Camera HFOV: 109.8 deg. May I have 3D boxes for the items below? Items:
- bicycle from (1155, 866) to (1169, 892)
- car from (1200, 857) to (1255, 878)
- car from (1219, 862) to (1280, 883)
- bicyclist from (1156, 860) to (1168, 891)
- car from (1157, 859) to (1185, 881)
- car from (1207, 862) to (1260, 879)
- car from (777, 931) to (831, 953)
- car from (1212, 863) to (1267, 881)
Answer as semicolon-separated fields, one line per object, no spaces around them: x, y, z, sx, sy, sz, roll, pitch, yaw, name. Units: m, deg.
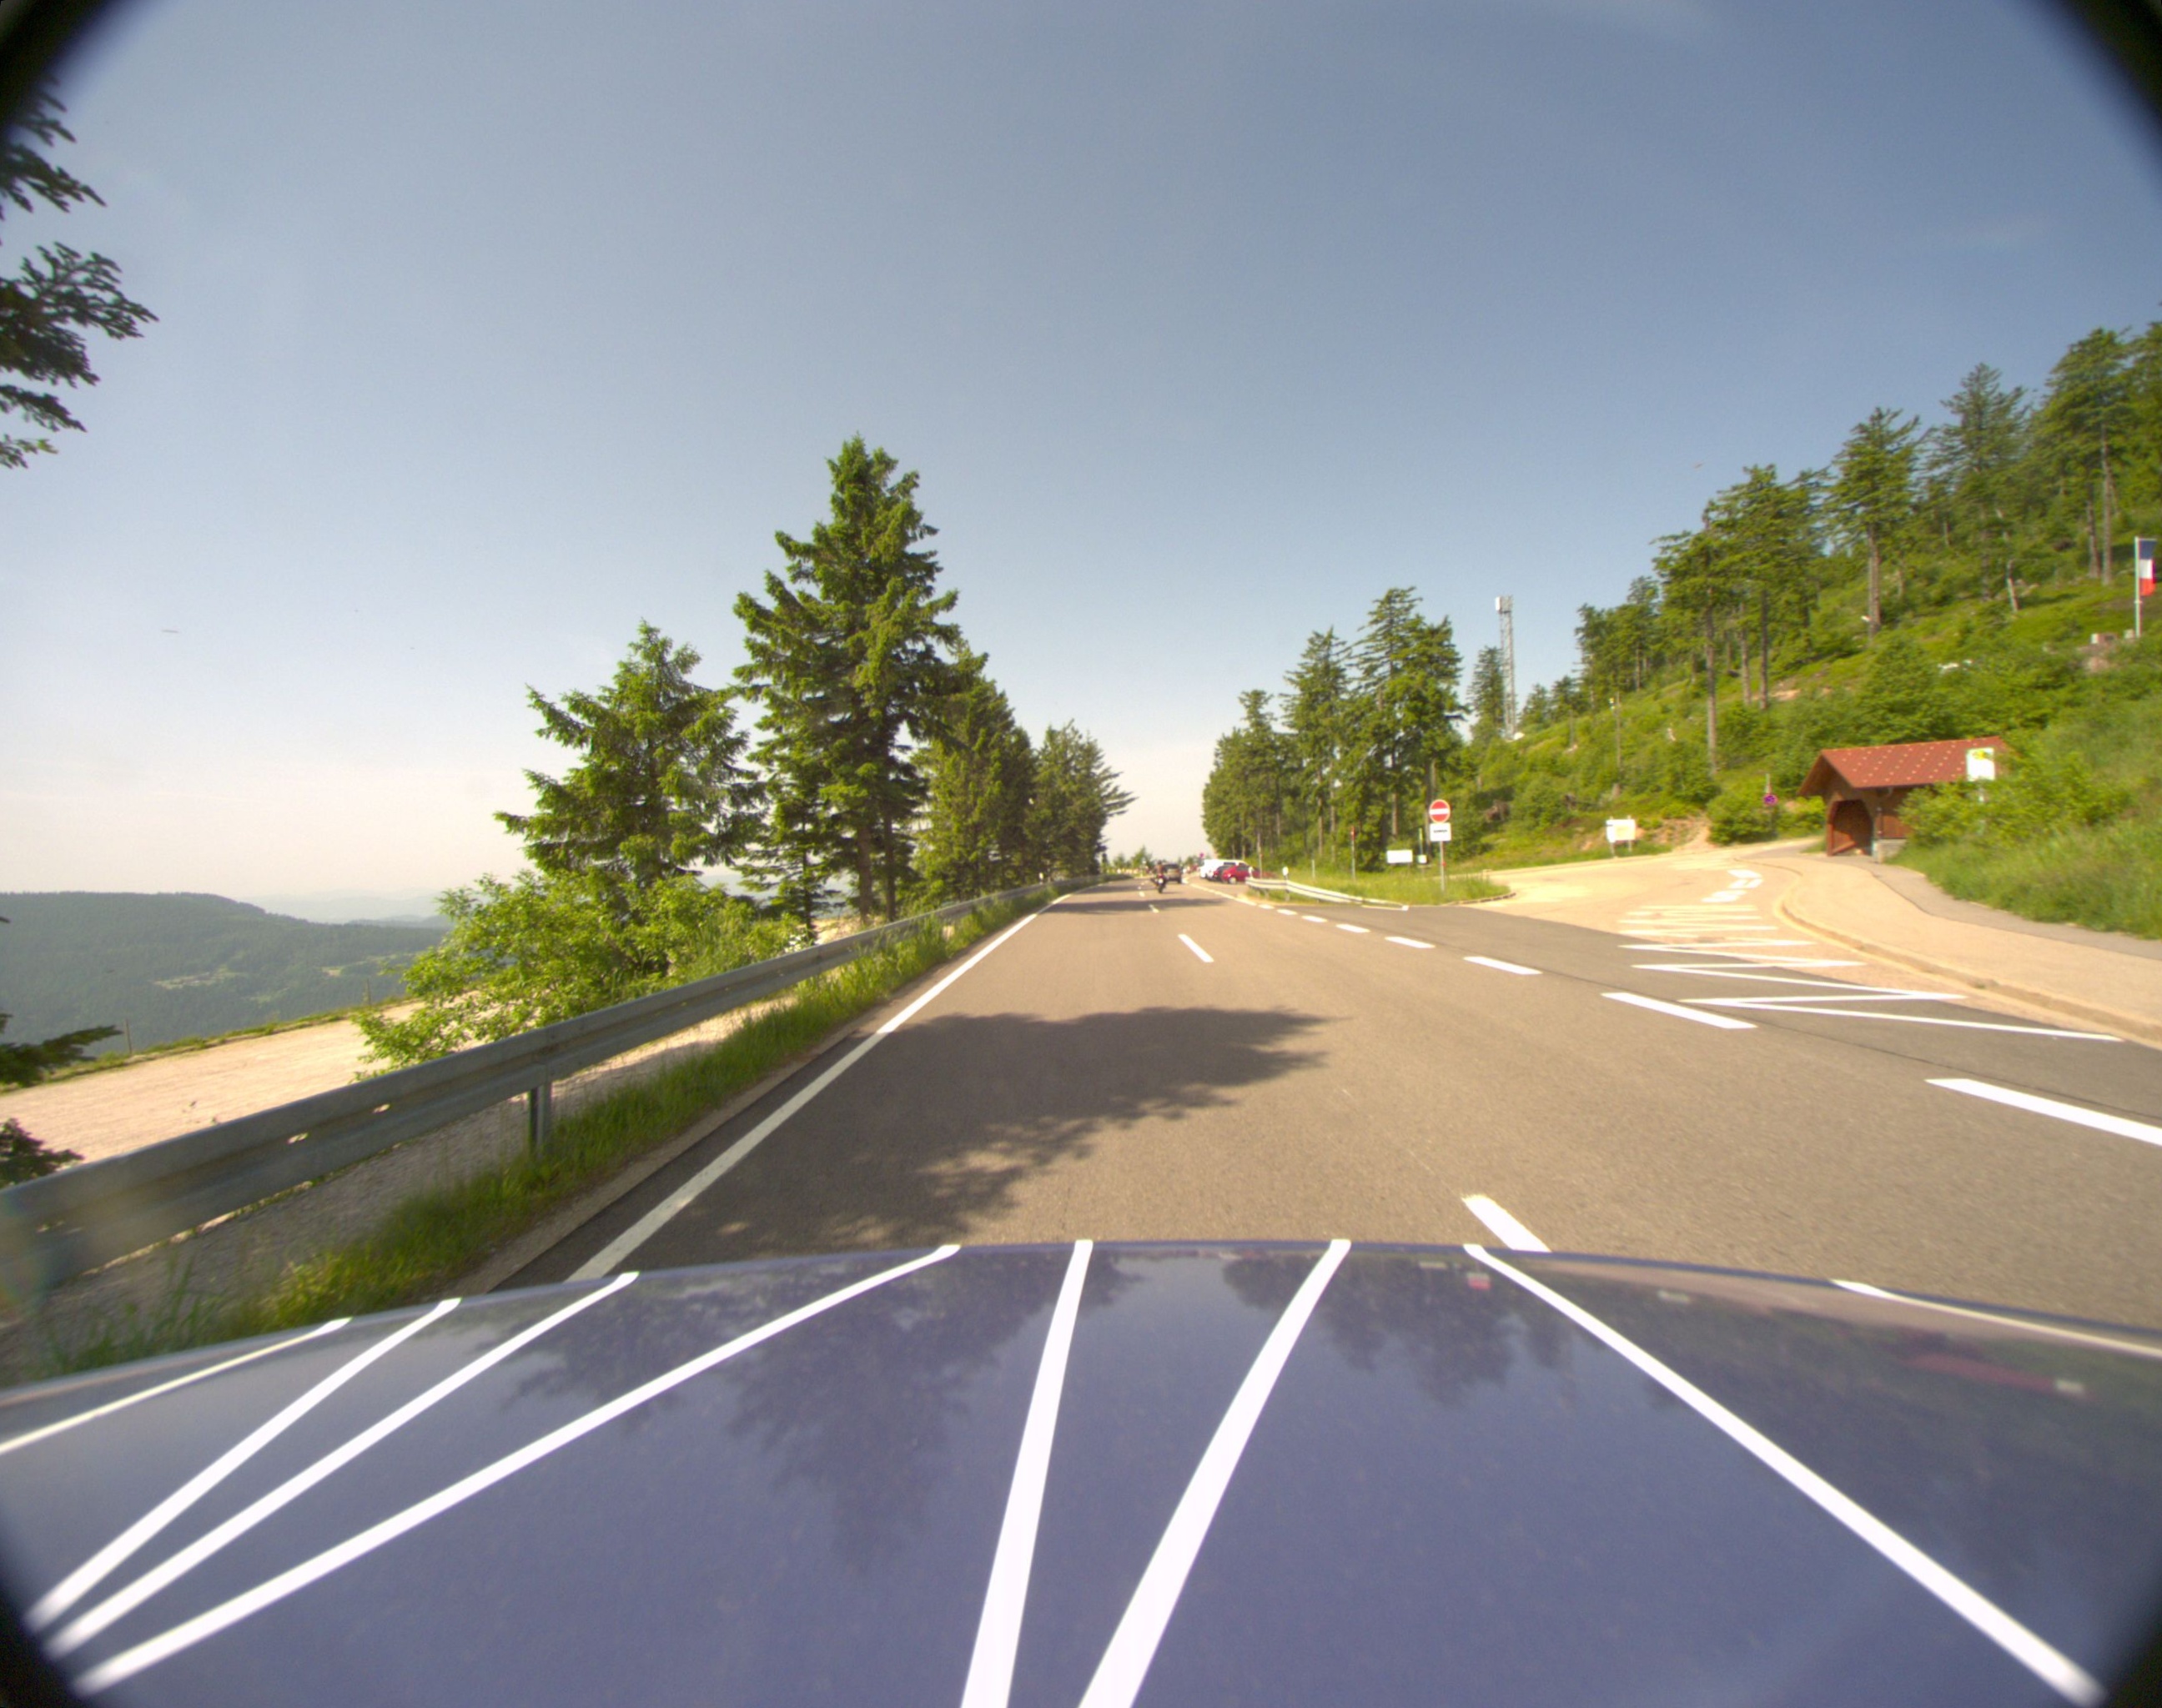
4.032;1.247;37.931;0.546;1.220;1.859;-1;0;3;bicycle
13.510;1.229;70.347;4.729;1.871;1.932;0;0;0;car
12.456;1.336;56.423;4.158;1.501;1.933;0;0;5;car
4.059;1.081;38.168;0.546;1.519;0.679;-1;1;1;bicyclist
6.911;1.225;58.653;1.998;1.586;4.002;-1;0;5;car
13.353;1.428;66.621;4.242;1.516;1.932;0;0;0;car
-23.431;7.419;64.301;3.771;1.587;1.845;-2;2;16;car
12.270;1.387;59.080;3.928;1.365;1.932;0;0;0;car
